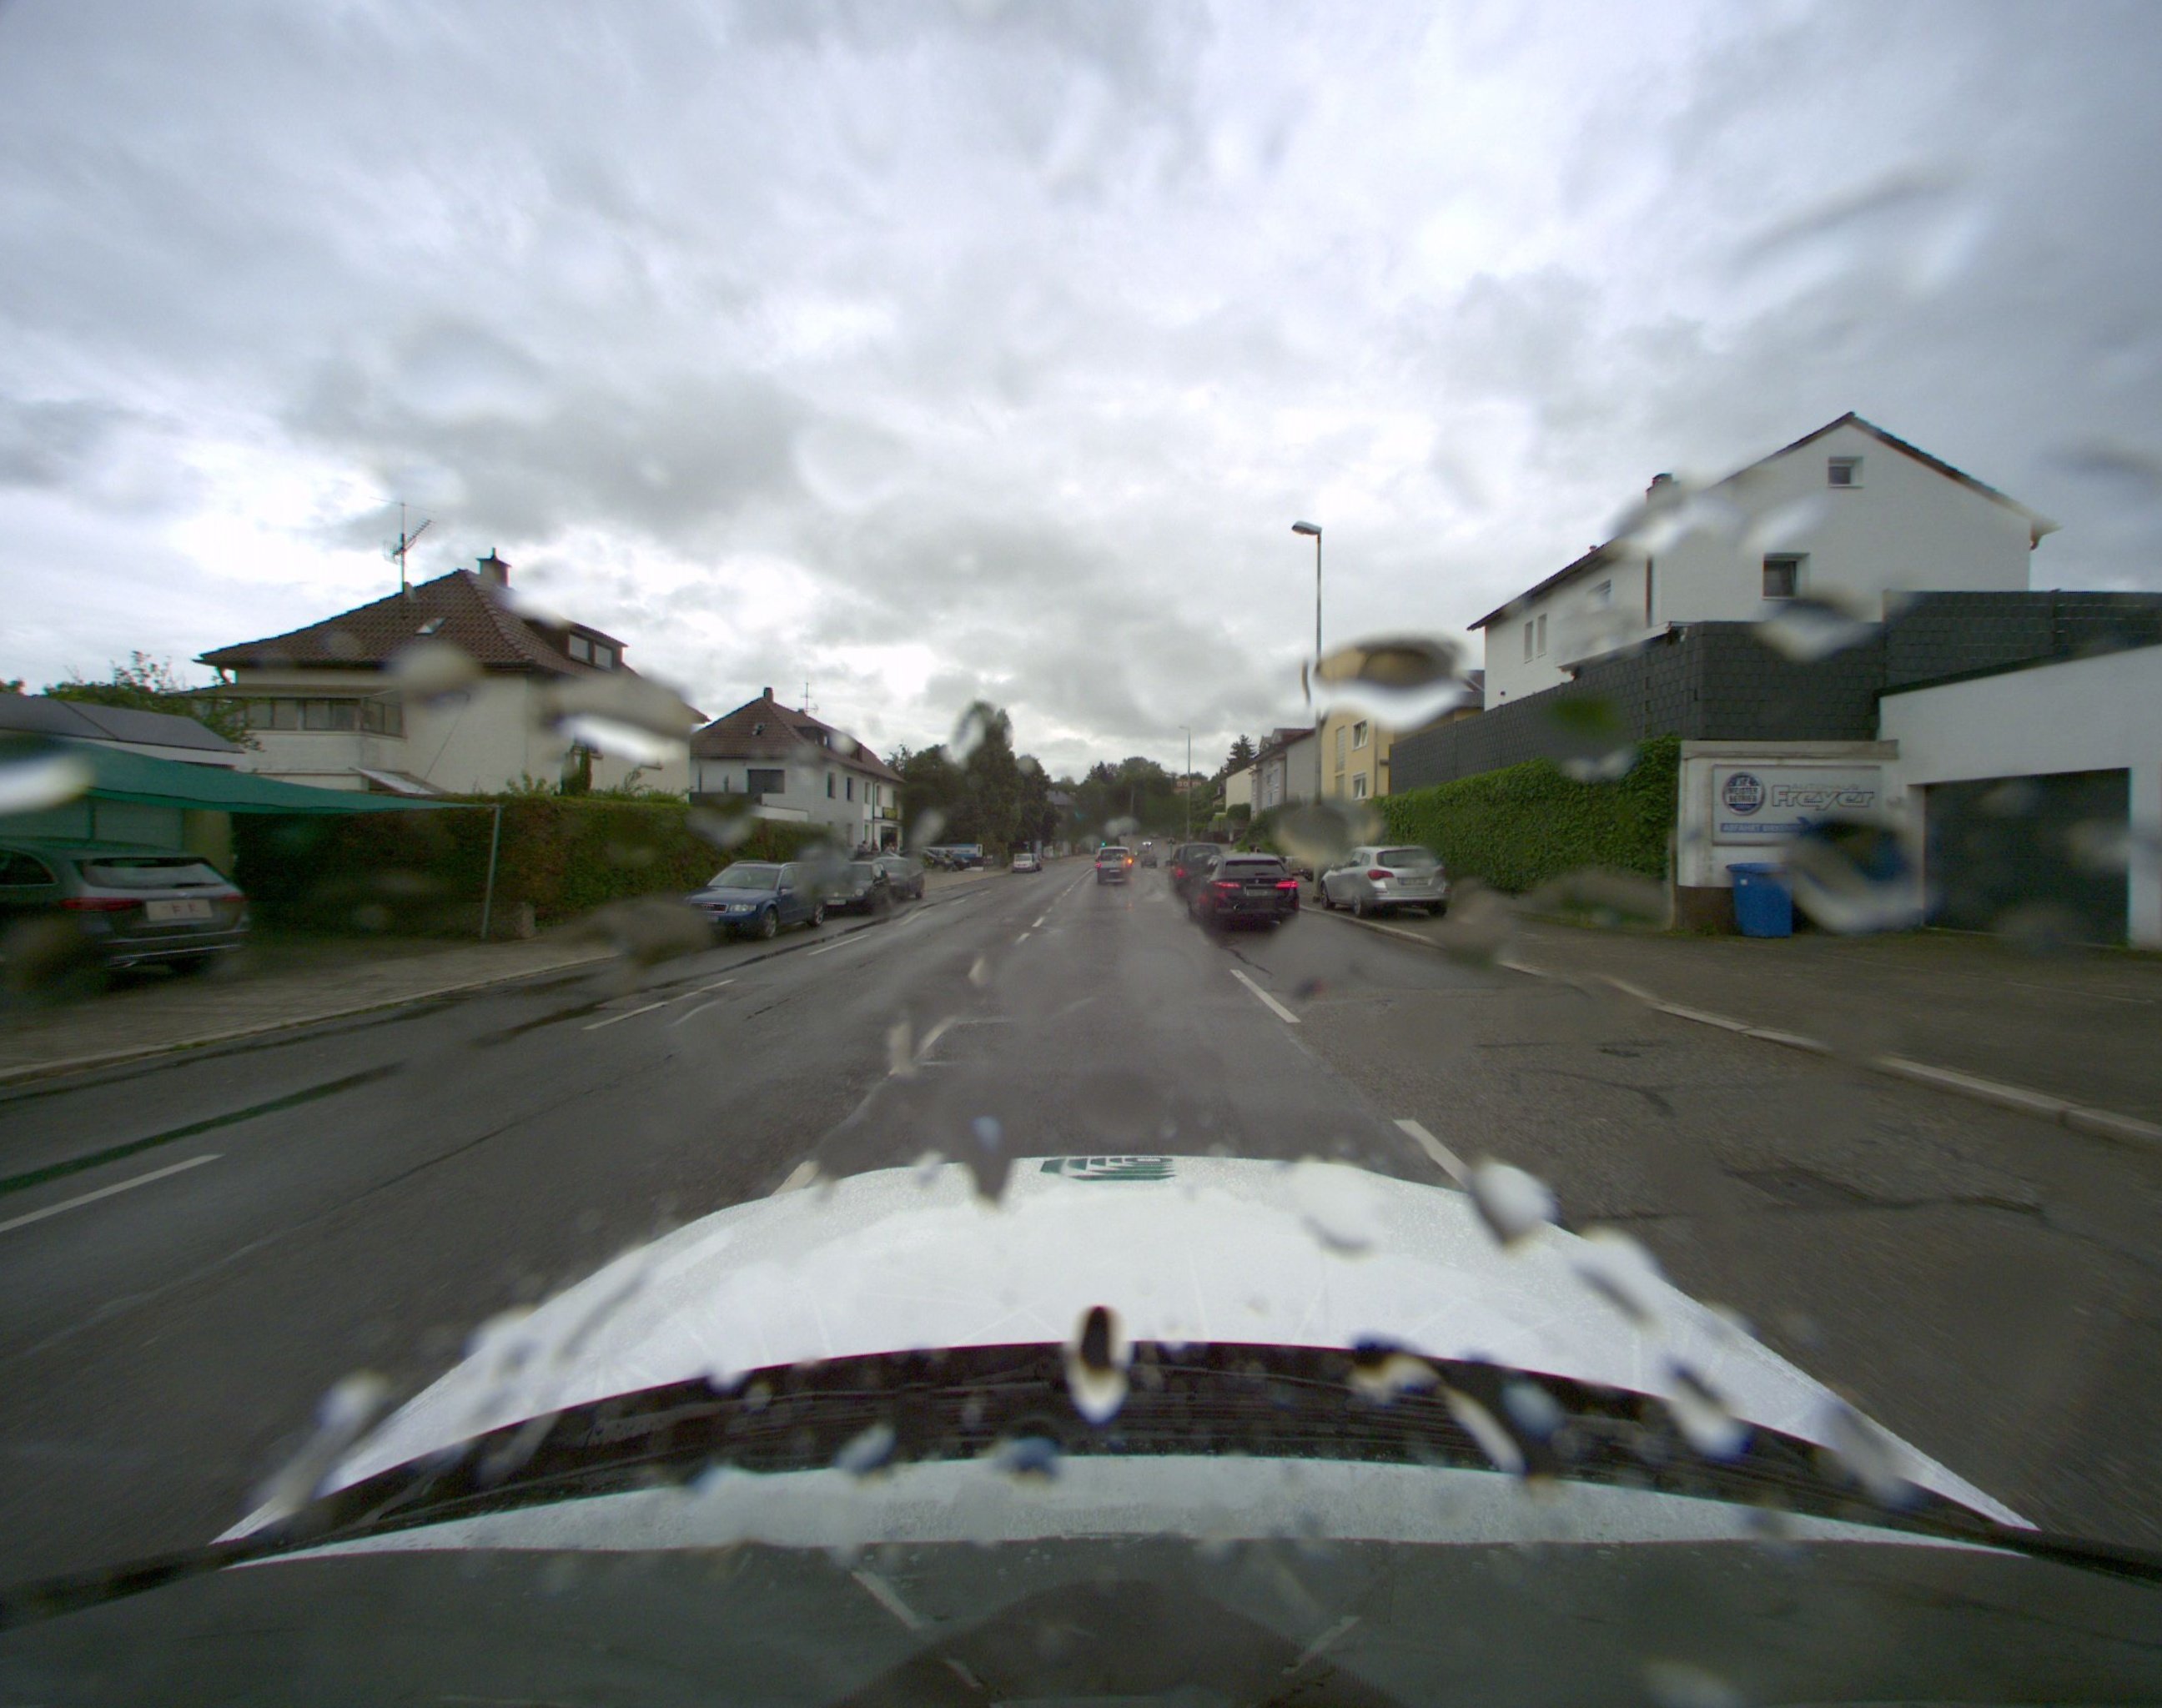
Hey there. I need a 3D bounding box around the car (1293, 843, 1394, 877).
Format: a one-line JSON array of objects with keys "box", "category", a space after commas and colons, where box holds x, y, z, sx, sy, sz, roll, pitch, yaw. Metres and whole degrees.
[{"box": [11.893, 0.268, 37.112, 3.974, 1.433, 1.869, -1, 0, 0], "category": "car"}]

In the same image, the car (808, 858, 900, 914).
[{"box": [-6.261, 0.830, 22.857, 1.547, 1.431, 4.012, 0, 0, -1], "category": "car"}]

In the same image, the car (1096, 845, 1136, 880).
[{"box": [1.815, 0.407, 42.109, 1.986, 1.737, 4.002, 0, 0, 2], "category": "car"}]

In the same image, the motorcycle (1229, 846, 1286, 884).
[{"box": [6.777, 0.412, 31.170, 2.066, 1.450, 0.762, 0, 0, 16], "category": "motorcycle"}]

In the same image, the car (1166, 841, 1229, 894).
[{"box": [4.122, 0.457, 29.353, 1.831, 1.767, 4.002, 0, 0, 2], "category": "car"}]

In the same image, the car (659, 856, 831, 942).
[{"box": [-6.711, 0.810, 16.821, 1.751, 1.532, 4.286, 0, 0, 0], "category": "car"}]

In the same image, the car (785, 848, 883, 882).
[{"box": [-11.592, 0.508, 38.416, 3.972, 1.516, 1.856, 1, 0, 1], "category": "car"}]

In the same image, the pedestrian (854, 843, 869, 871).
[{"box": [-13.670, 0.185, 50.749, 0.597, 1.665, 0.651, 3, 0, 7], "category": "pedestrian"}]

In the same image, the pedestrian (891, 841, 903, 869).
[{"box": [-12.272, 0.073, 54.220, 0.599, 1.790, 0.649, 3, 0, -4], "category": "pedestrian"}]

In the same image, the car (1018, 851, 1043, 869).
[{"box": [-4.695, 0.532, 76.170, 1.877, 1.585, 4.002, 0, 0, 2], "category": "car"}]

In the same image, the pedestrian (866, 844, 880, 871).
[{"box": [-13.356, 0.237, 52.279, 0.597, 1.665, 0.651, 3, 0, 7], "category": "pedestrian"}]

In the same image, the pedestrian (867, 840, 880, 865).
[{"box": [-14.021, -0.083, 55.038, 0.597, 1.665, 0.651, 3, 0, 7], "category": "pedestrian"}]

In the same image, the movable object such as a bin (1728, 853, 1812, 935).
[{"box": [9.879, 0.563, 11.697, 0.593, 1.105, 0.667, -3, 0, 1], "category": "movable object such as a bin"}]

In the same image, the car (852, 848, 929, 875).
[{"box": [-11.290, 0.456, 48.406, 4.057, 1.516, 1.856, 1, 0, 1], "category": "car"}]

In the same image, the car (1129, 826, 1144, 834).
[{"box": [15.439, -6.606, 227.383, 2.526, 2.013, 5.581, 0, 4, -15], "category": "car"}]

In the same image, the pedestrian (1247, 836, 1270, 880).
[{"box": [6.787, 0.150, 31.167, 0.823, 1.649, 0.625, 0, 0, 16], "category": "pedestrian"}]

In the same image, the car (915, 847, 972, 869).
[{"box": [-10.976, 0.331, 65.145, 4.058, 1.516, 1.856, 4, 0, 1], "category": "car"}]

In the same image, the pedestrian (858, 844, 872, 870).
[{"box": [-14.068, 0.196, 53.108, 0.597, 1.665, 0.651, 3, 0, 7], "category": "pedestrian"}]

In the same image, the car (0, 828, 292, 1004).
[{"box": [-11.626, 0.563, 8.971, 3.944, 1.613, 1.919, 3, 0, 2], "category": "car"}]

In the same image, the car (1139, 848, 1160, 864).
[{"box": [7.425, 0.209, 88.365, 1.986, 1.578, 4.002, -1, 1, 2], "category": "car"}]

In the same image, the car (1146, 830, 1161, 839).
[{"box": [18.903, -5.155, 212.059, 2.522, 2.012, 5.592, 0, 4, -10], "category": "car"}]

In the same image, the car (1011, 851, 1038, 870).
[{"box": [-4.826, 0.563, 69.548, 1.877, 1.585, 4.002, 0, 0, 2], "category": "car"}]

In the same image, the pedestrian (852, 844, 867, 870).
[{"box": [-14.078, 0.195, 51.762, 0.597, 1.665, 0.651, 3, 0, 7], "category": "pedestrian"}]

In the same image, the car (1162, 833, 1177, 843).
[{"box": [20.864, -3.815, 192.572, 2.518, 2.013, 5.598, 0, 3, -6], "category": "car"}]

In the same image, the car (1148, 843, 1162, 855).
[{"box": [14.030, -1.018, 154.208, 2.511, 2.013, 5.614, 0, 3, 3], "category": "car"}]

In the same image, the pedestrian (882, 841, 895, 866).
[{"box": [-12.939, -0.024, 54.768, 0.597, 1.665, 0.652, 3, 0, 10], "category": "pedestrian"}]

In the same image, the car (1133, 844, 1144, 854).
[{"box": [11.408, -1.002, 160.506, 1.986, 1.772, 4.002, -2, 0, 2], "category": "car"}]

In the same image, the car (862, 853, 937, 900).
[{"box": [-6.222, 0.723, 28.386, 1.752, 1.532, 4.206, 0, 0, -1], "category": "car"}]

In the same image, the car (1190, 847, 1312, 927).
[{"box": [3.445, 0.625, 17.220, 1.985, 1.484, 4.004, 0, 0, 4], "category": "car"}]

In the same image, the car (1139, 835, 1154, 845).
[{"box": [14.879, -3.185, 186.031, 2.518, 2.013, 5.600, 0, 3, -5], "category": "car"}]

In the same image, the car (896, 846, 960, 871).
[{"box": [-10.946, 0.328, 58.477, 4.058, 1.516, 1.856, 4, 0, 1], "category": "car"}]

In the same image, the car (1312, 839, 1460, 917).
[{"box": [6.547, 0.468, 18.021, 1.694, 1.510, 4.536, 0, 0, 2], "category": "car"}]
